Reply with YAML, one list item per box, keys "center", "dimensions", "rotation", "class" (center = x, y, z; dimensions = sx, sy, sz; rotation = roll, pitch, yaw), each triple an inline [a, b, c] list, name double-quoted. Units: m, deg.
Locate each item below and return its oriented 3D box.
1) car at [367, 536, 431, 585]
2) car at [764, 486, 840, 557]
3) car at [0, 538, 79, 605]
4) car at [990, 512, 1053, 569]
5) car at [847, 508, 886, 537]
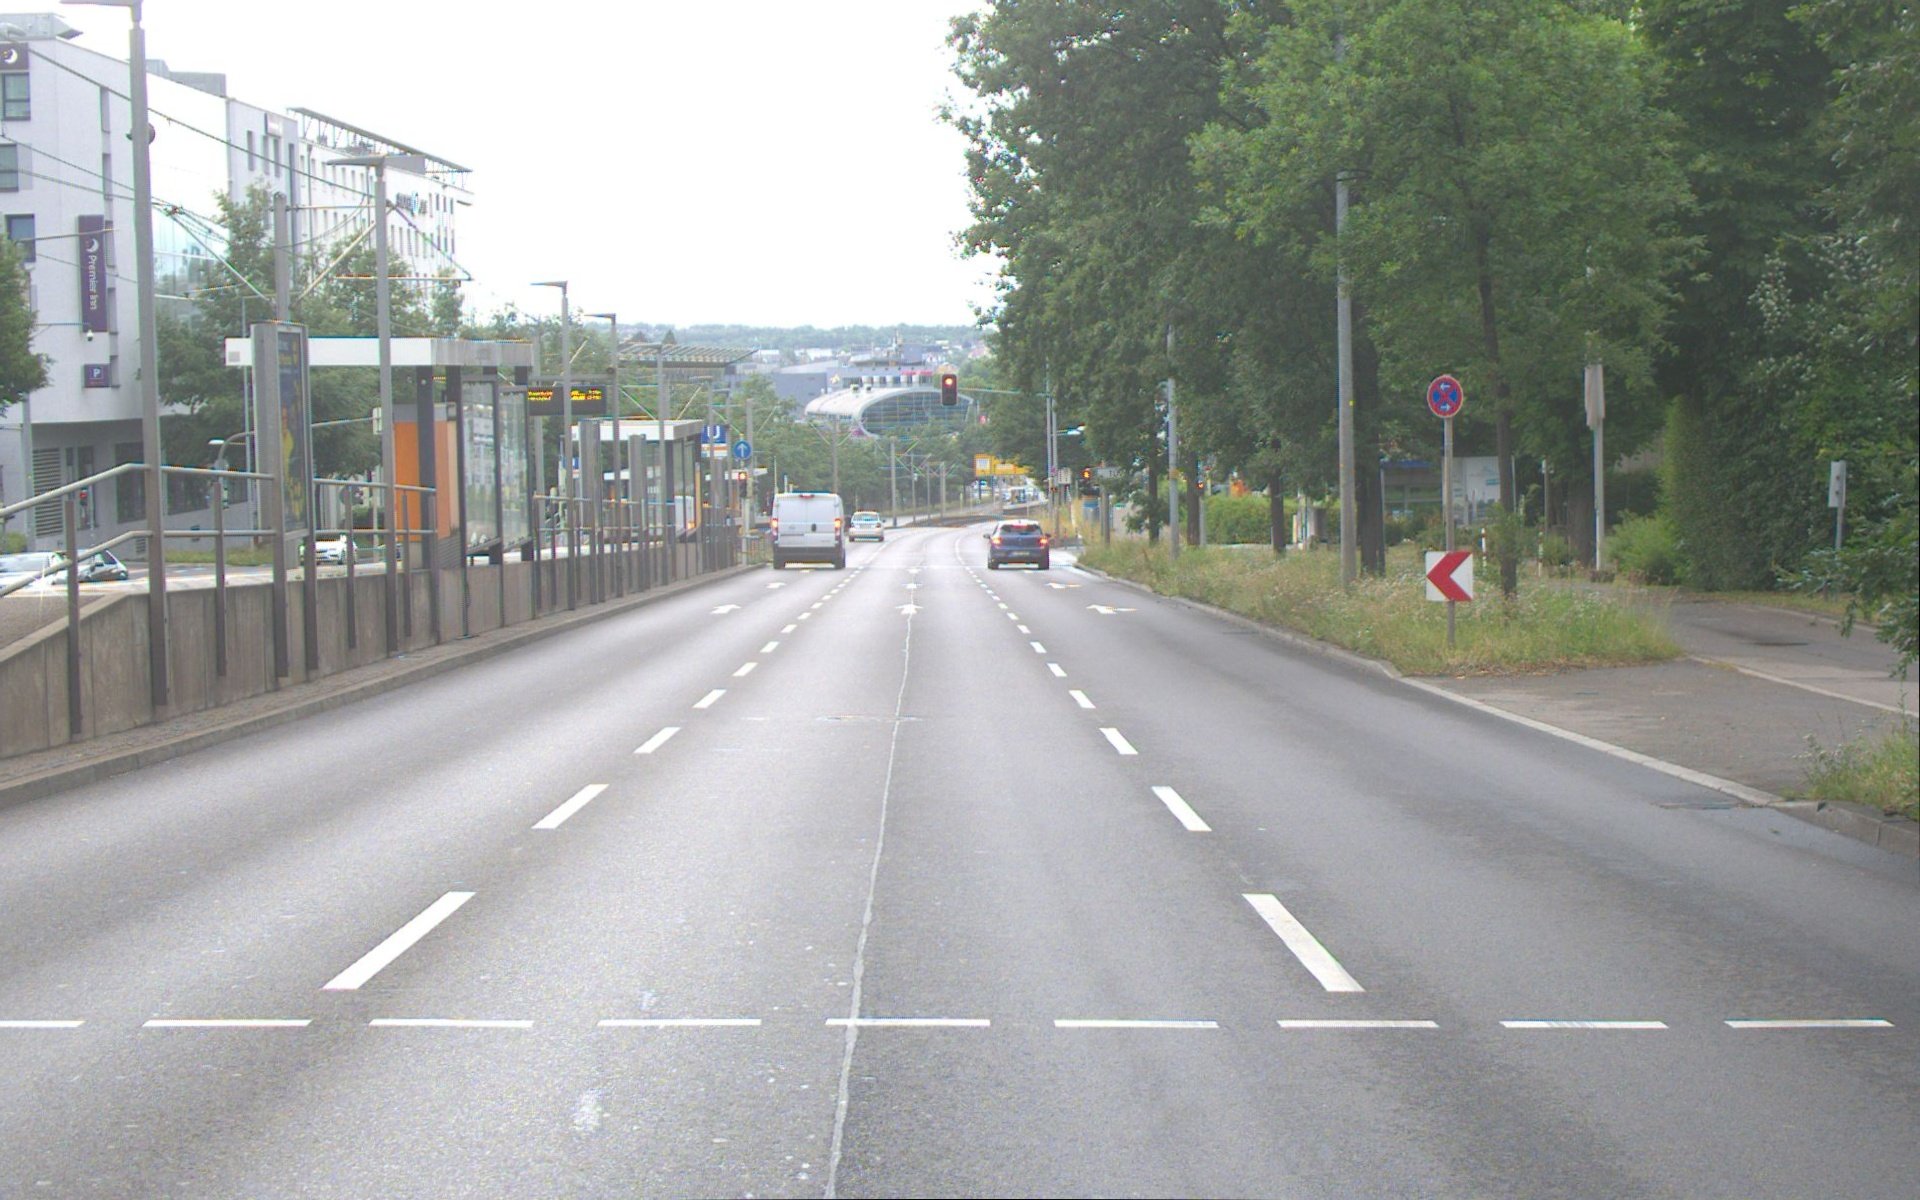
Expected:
- center: [-17.579, -1.247, 107.578]
  dimensions: [1.650, 1.431, 3.881]
  rotation: [-3, 1, -13]
  class: "car"
- center: [-4.685, -2.337, 102.445]
  dimensions: [2.093, 2.046, 4.607]
  rotation: [0, 1, -1]
  class: "car"
- center: [-21.311, -0.650, 78.363]
  dimensions: [1.650, 1.431, 3.880]
  rotation: [-3, 1, -4]
  class: "car"
- center: [1.827, -1.789, 102.784]
  dimensions: [1.774, 1.685, 3.846]
  rotation: [0, 1, -1]
  class: "car"
- center: [-4.596, -3.829, 169.611]
  dimensions: [1.783, 1.385, 4.000]
  rotation: [0, 1, 0]
  class: "car"
